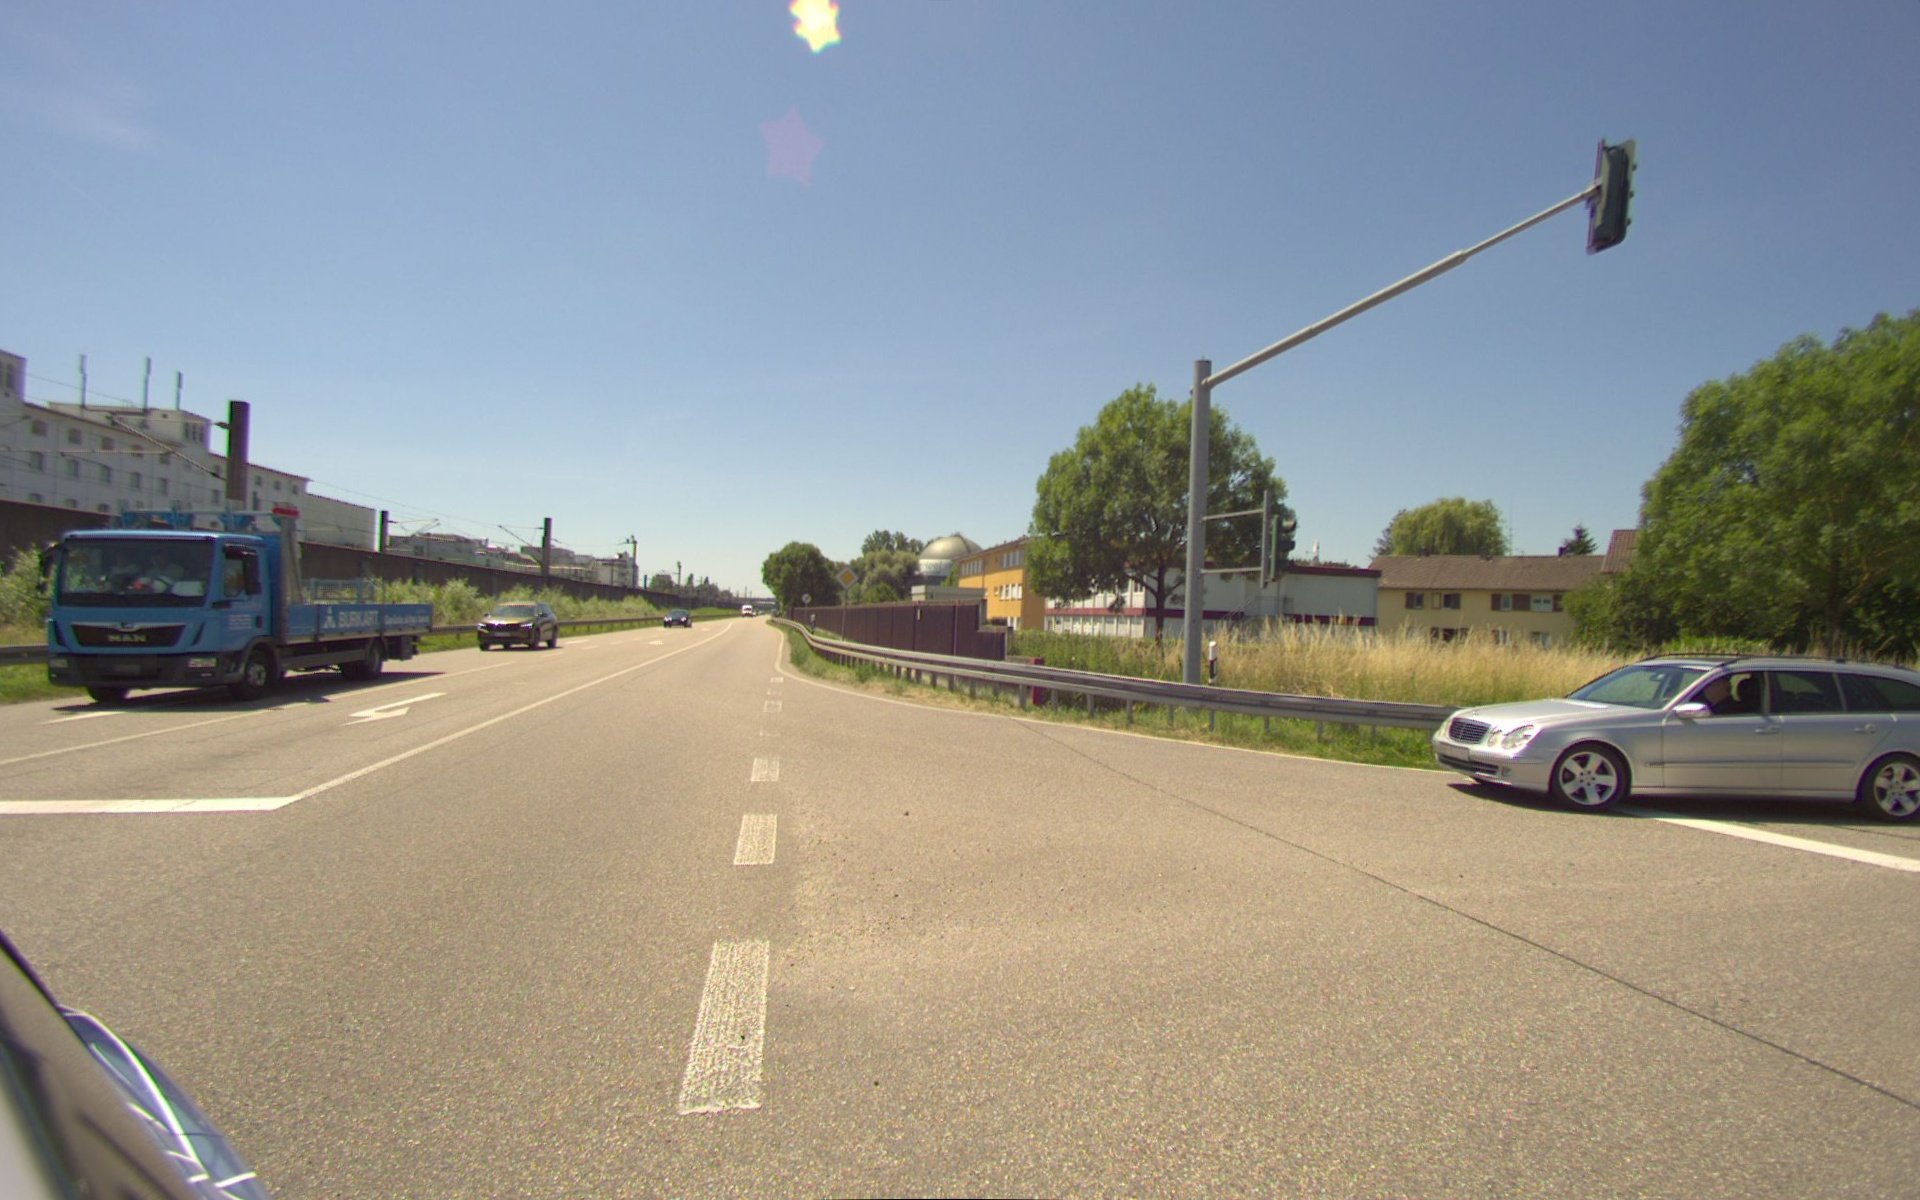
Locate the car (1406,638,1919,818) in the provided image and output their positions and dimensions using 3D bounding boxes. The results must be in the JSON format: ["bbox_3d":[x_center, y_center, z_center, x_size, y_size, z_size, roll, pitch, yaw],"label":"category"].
[{"bbox_3d":[7.243,1.180,9.897,4.900,1.468,1.877,1,-1,0],"label":"car"}]

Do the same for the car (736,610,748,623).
[{"bbox_3d":[-44.536,3.333,206.798,2.171,2.579,5.234,1,-1,-10],"label":"car"}]

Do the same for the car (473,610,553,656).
[{"bbox_3d":[-15.542,1.100,35.379,1.702,1.484,4.186,1,-1,-12],"label":"car"}]

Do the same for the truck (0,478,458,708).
[{"bbox_3d":[-12.504,-0.004,19.012,2.576,3.064,10.679,1,-1,-10],"label":"truck"}]

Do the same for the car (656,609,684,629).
[{"bbox_3d":[-23.397,1.525,81.731,1.703,1.484,3.897,1,-1,-9],"label":"car"}]
